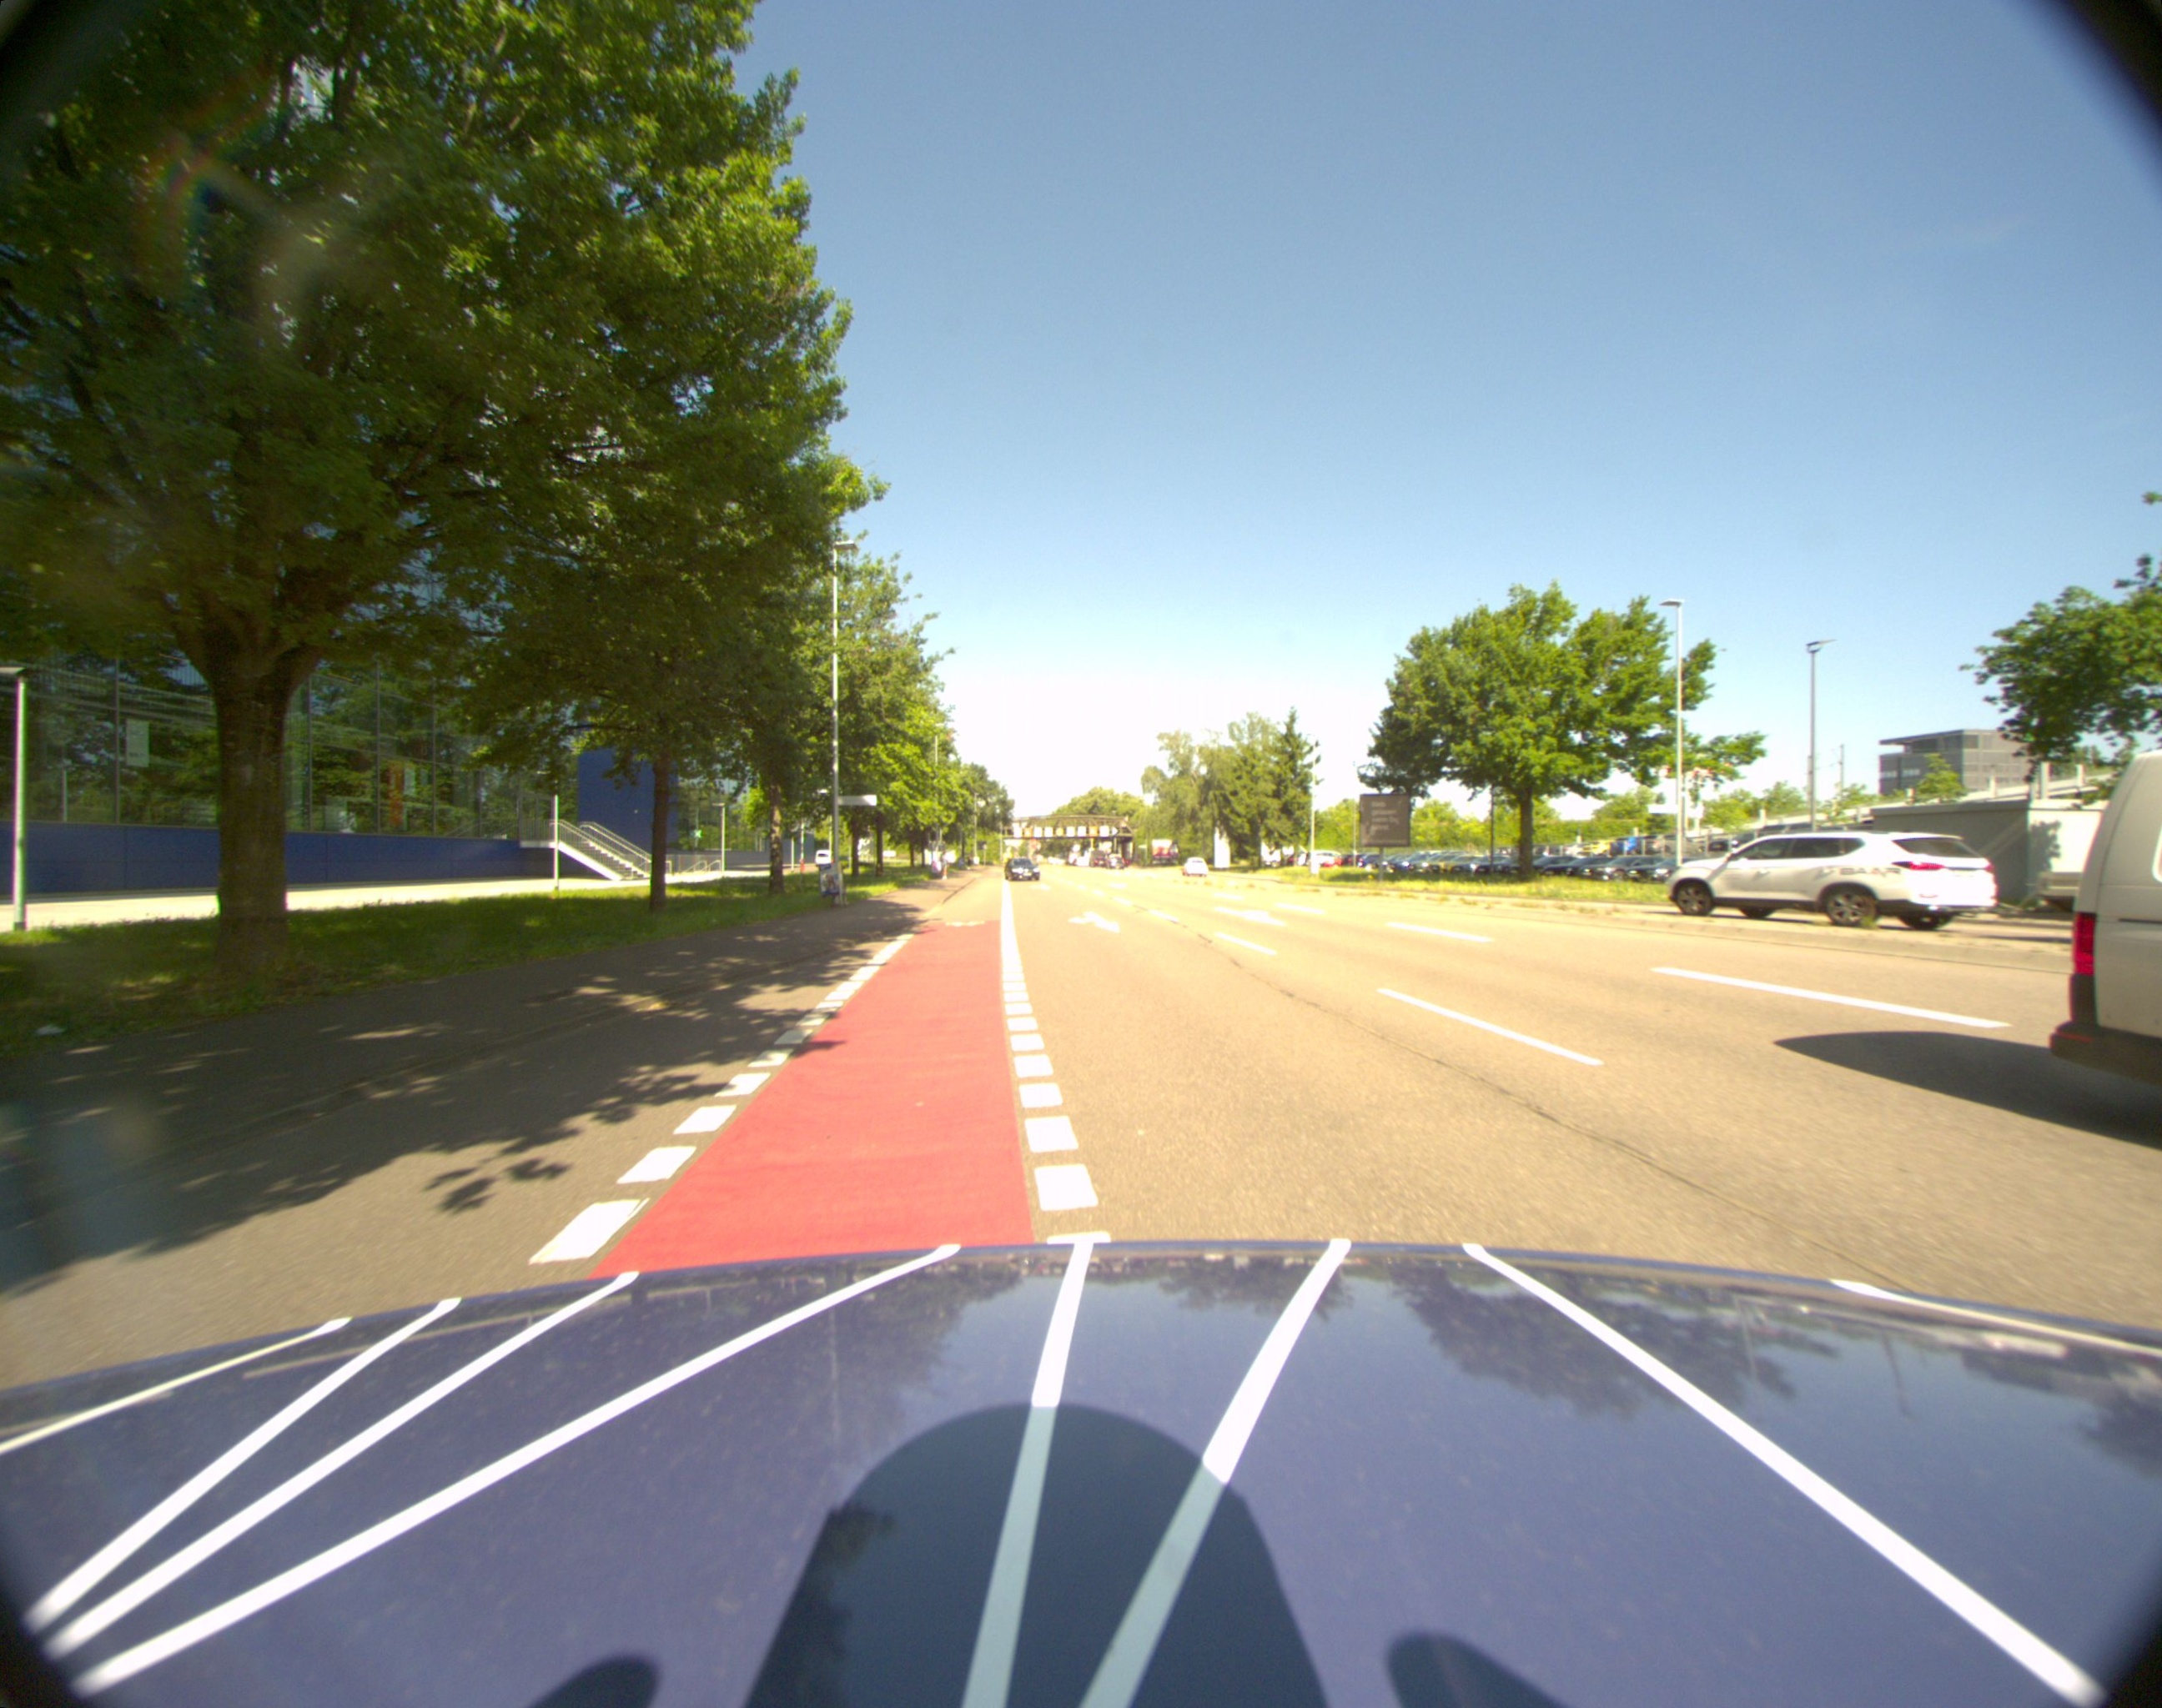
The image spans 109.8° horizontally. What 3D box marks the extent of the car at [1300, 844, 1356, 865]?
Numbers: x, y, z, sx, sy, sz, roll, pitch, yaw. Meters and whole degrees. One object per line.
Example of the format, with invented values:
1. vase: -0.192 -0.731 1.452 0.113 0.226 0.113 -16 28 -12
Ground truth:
1. car: 21.829 0.058 67.259 4.278 1.873 1.953 0 0 -3

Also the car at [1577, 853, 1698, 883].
1. car: 25.897 0.649 35.463 4.278 1.343 1.953 0 0 -3

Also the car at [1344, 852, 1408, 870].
1. car: 22.956 0.549 59.217 4.278 1.373 1.953 0 0 -3

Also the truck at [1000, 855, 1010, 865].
1. truck: -22.379 1.846 224.305 2.412 2.845 5.800 -2 -1 -11

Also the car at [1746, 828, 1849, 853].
1. car: 41.050 -0.755 43.598 4.278 1.343 1.953 0 0 -5

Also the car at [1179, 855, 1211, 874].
1. car: 9.299 0.835 62.345 1.659 1.455 3.547 1 0 -8

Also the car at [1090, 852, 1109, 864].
1. car: 2.418 0.460 99.171 1.846 1.455 4.997 2 0 -5

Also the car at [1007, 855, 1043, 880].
1. car: -3.633 0.854 48.700 1.912 1.511 4.370 0 0 -9

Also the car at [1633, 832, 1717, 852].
1. car: 40.347 -0.804 51.652 4.278 1.343 1.953 0 0 -5

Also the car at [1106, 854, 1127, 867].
1. car: 3.903 0.734 84.391 1.788 1.406 3.998 2 0 -5

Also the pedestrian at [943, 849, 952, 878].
1. pedestrian: -8.515 0.578 48.481 0.536 1.831 0.727 0 1 -5

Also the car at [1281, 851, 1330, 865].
1. car: 21.401 0.389 72.476 4.097 1.346 1.743 0 1 0

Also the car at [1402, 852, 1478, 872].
1. car: 24.267 0.533 51.437 4.278 1.343 1.953 0 0 -3

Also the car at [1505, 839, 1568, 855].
1. car: 38.695 -0.578 64.589 4.278 1.343 1.953 0 0 -5

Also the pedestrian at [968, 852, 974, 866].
1. pedestrian: -12.393 0.577 85.753 0.649 1.594 0.846 0 1 -4

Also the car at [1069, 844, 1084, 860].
1. car: -0.862 -0.310 137.045 2.000 2.788 6.933 2 0 -7

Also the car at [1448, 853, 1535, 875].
1. car: 24.931 0.605 46.227 4.278 1.343 1.953 0 0 -3

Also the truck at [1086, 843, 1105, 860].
1. truck: 2.683 -0.422 143.721 2.348 3.070 7.064 0 0 -9

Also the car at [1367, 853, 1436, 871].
1. car: 23.823 0.566 56.559 4.278 1.343 1.953 0 0 -3

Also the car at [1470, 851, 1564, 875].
1. car: 24.939 0.523 43.525 4.278 1.343 1.953 0 0 -3

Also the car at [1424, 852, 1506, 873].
1. car: 24.641 0.521 48.838 4.278 1.343 1.953 0 0 -3

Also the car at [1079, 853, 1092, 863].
1. car: 0.708 0.709 121.138 1.648 1.485 3.827 1 -1 -6

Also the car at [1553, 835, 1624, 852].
1. car: 39.510 -0.798 59.177 4.278 1.343 1.953 0 0 -5

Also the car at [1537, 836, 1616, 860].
1. car: 34.399 -0.379 52.837 4.278 1.633 1.953 0 0 -3

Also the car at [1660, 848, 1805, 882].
1. car: 26.328 0.437 30.800 4.278 1.343 1.953 0 0 -3

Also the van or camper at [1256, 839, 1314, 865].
1. van or camper: 21.113 -0.238 78.741 5.395 2.456 1.999 -2 -1 -7

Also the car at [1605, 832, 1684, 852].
1. car: 40.309 -0.839 54.413 4.278 1.343 1.953 0 0 -5

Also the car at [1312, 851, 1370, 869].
1. car: 22.222 0.516 65.037 4.278 1.495 1.953 0 0 -3

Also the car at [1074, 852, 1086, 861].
1. car: -0.163 0.405 130.325 1.774 1.485 4.176 1 -1 -5

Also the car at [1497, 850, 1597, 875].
1. car: 25.308 0.468 41.353 4.278 1.343 1.953 0 0 -3

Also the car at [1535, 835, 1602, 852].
1. car: 39.441 -0.871 61.548 4.278 1.343 1.953 0 0 -5

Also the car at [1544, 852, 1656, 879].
1. car: 25.725 0.557 37.762 4.278 1.343 1.953 0 0 -3

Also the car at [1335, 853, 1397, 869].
1. car: 23.275 0.577 62.138 4.278 1.320 1.953 0 0 -3

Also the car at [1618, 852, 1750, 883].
1. car: 26.110 0.568 33.012 4.278 1.343 1.953 0 0 -3

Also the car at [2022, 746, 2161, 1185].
1. car: 6.049 0.501 1.534 1.887 1.982 4.971 0 0 -6

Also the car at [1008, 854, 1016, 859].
1. car: -19.114 0.791 209.960 1.824 1.346 3.996 0 0 -9

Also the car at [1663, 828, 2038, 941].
1. car: 14.503 0.496 14.885 2.000 1.822 4.933 0 0 -8

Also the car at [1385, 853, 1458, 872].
1. car: 24.125 0.576 53.886 4.278 1.343 1.953 0 0 -3

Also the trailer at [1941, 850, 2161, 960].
1. trailer: 15.183 0.668 9.469 2.000 1.444 5.768 0 0 -7

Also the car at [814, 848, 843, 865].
1. car: -27.882 0.297 84.018 1.910 1.818 4.179 0 0 -2

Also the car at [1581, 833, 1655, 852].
1. car: 39.977 -0.859 56.614 4.278 1.343 1.953 0 0 -5

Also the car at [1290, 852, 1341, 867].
1. car: 21.504 0.504 69.687 4.098 1.286 1.743 0 0 -3

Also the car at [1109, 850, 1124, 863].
1. car: 5.688 0.455 122.169 1.999 2.002 5.346 1 0 -1

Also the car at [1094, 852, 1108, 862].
1. car: 3.600 0.627 137.474 1.990 1.679 4.286 1 -1 -5

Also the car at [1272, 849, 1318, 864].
1. car: 21.085 0.232 74.900 4.097 1.430 1.743 0 0 0

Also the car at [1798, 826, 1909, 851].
1. car: 41.951 -0.823 41.326 4.278 1.343 1.953 0 0 -5

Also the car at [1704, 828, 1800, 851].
1. car: 40.840 -0.856 46.285 4.278 1.343 1.953 0 0 -5

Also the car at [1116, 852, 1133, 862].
1. car: 6.507 0.446 114.118 1.999 1.405 4.679 0 0 -5
